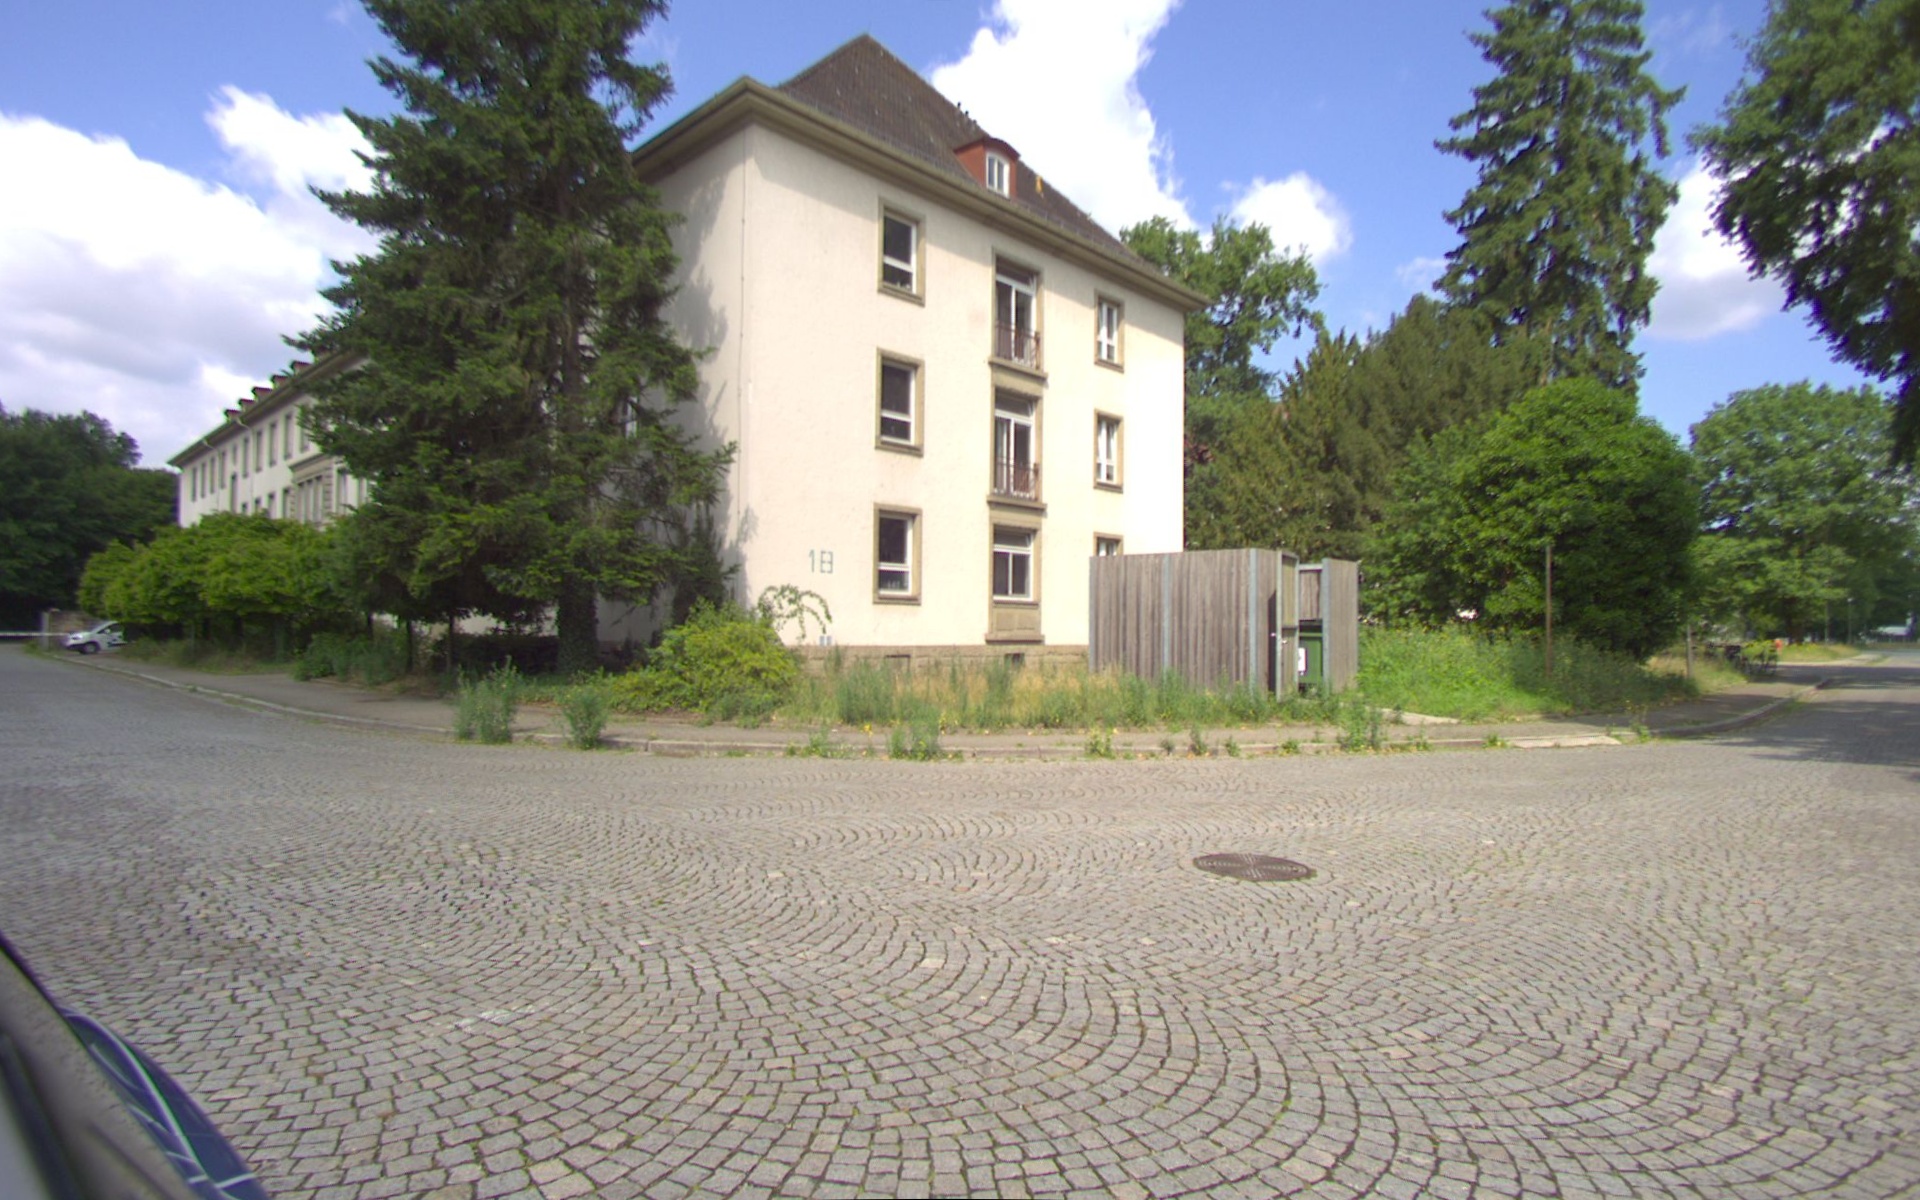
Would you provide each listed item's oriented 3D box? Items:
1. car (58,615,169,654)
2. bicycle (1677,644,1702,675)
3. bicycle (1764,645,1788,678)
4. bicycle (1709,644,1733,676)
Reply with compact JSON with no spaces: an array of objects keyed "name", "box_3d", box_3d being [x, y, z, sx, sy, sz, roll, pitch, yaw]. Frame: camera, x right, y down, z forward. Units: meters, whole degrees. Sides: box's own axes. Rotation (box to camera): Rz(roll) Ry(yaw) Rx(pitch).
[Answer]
[{"name":"car","box_3d":[-44.648,1.794,53.437,1.819,1.819,4.256,-1,0,41]},{"name":"bicycle","box_3d":[27.383,2.218,37.957,0.559,1.107,2.185,-1,-2,41]},{"name":"bicycle","box_3d":[28.995,2.169,35.952,0.559,1.107,2.185,-1,-2,41]},{"name":"bicycle","box_3d":[28.064,2.201,37.321,0.559,1.107,2.185,-1,-2,41]}]
